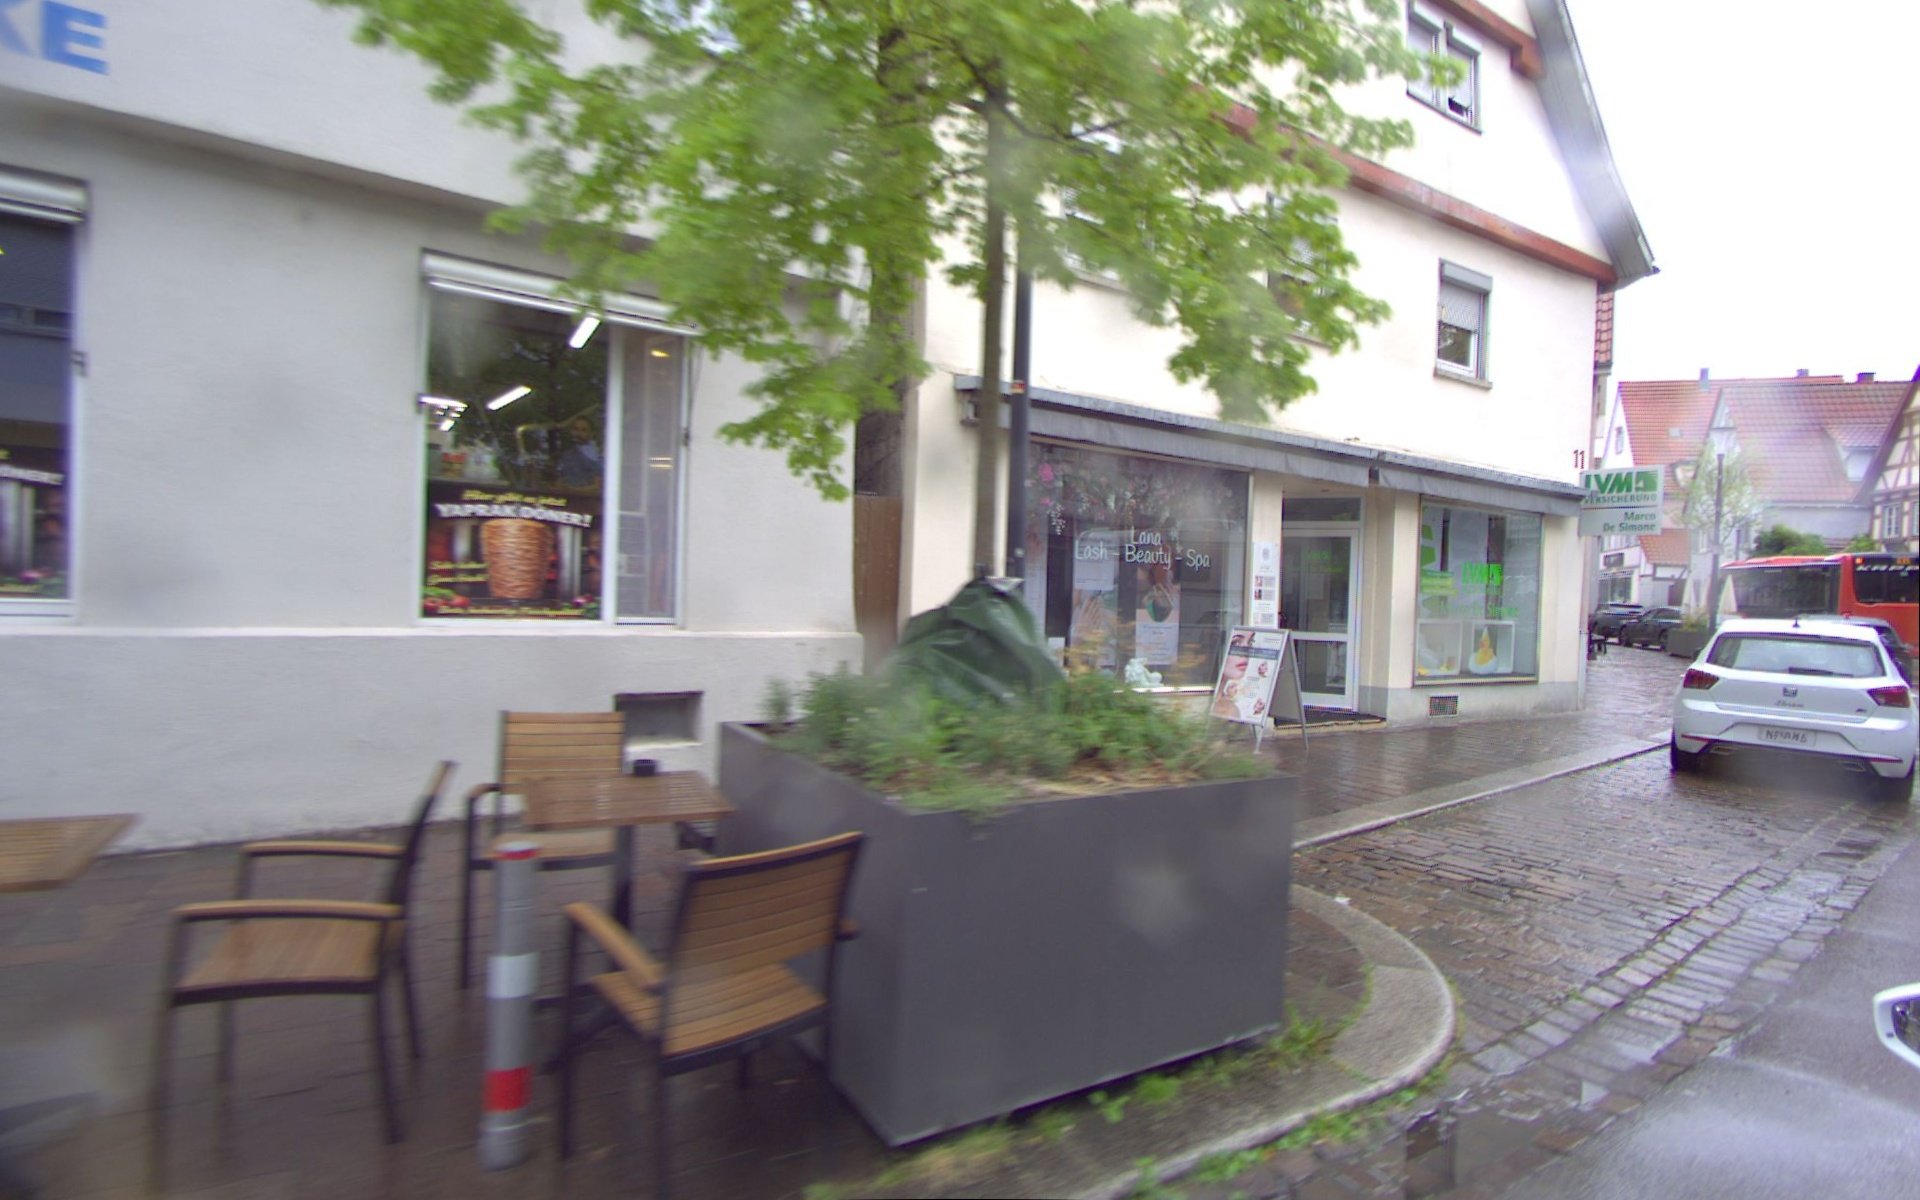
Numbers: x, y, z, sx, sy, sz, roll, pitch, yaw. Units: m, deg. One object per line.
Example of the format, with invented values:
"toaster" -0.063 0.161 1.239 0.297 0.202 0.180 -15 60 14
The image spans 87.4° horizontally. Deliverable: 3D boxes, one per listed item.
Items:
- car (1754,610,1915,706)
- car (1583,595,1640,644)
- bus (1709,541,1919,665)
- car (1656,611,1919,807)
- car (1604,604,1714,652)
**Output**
"car" 15.694 0.948 18.226 1.698 1.433 3.968 3 2 34
"car" 24.619 0.715 38.032 1.675 1.697 3.881 3 0 32
"bus" 26.193 0.127 30.691 2.768 3.130 10.602 3 0 23
"car" 8.259 0.893 10.037 1.701 1.433 3.961 4 3 40
"car" 22.997 0.888 33.215 1.828 1.361 3.799 3 1 16
